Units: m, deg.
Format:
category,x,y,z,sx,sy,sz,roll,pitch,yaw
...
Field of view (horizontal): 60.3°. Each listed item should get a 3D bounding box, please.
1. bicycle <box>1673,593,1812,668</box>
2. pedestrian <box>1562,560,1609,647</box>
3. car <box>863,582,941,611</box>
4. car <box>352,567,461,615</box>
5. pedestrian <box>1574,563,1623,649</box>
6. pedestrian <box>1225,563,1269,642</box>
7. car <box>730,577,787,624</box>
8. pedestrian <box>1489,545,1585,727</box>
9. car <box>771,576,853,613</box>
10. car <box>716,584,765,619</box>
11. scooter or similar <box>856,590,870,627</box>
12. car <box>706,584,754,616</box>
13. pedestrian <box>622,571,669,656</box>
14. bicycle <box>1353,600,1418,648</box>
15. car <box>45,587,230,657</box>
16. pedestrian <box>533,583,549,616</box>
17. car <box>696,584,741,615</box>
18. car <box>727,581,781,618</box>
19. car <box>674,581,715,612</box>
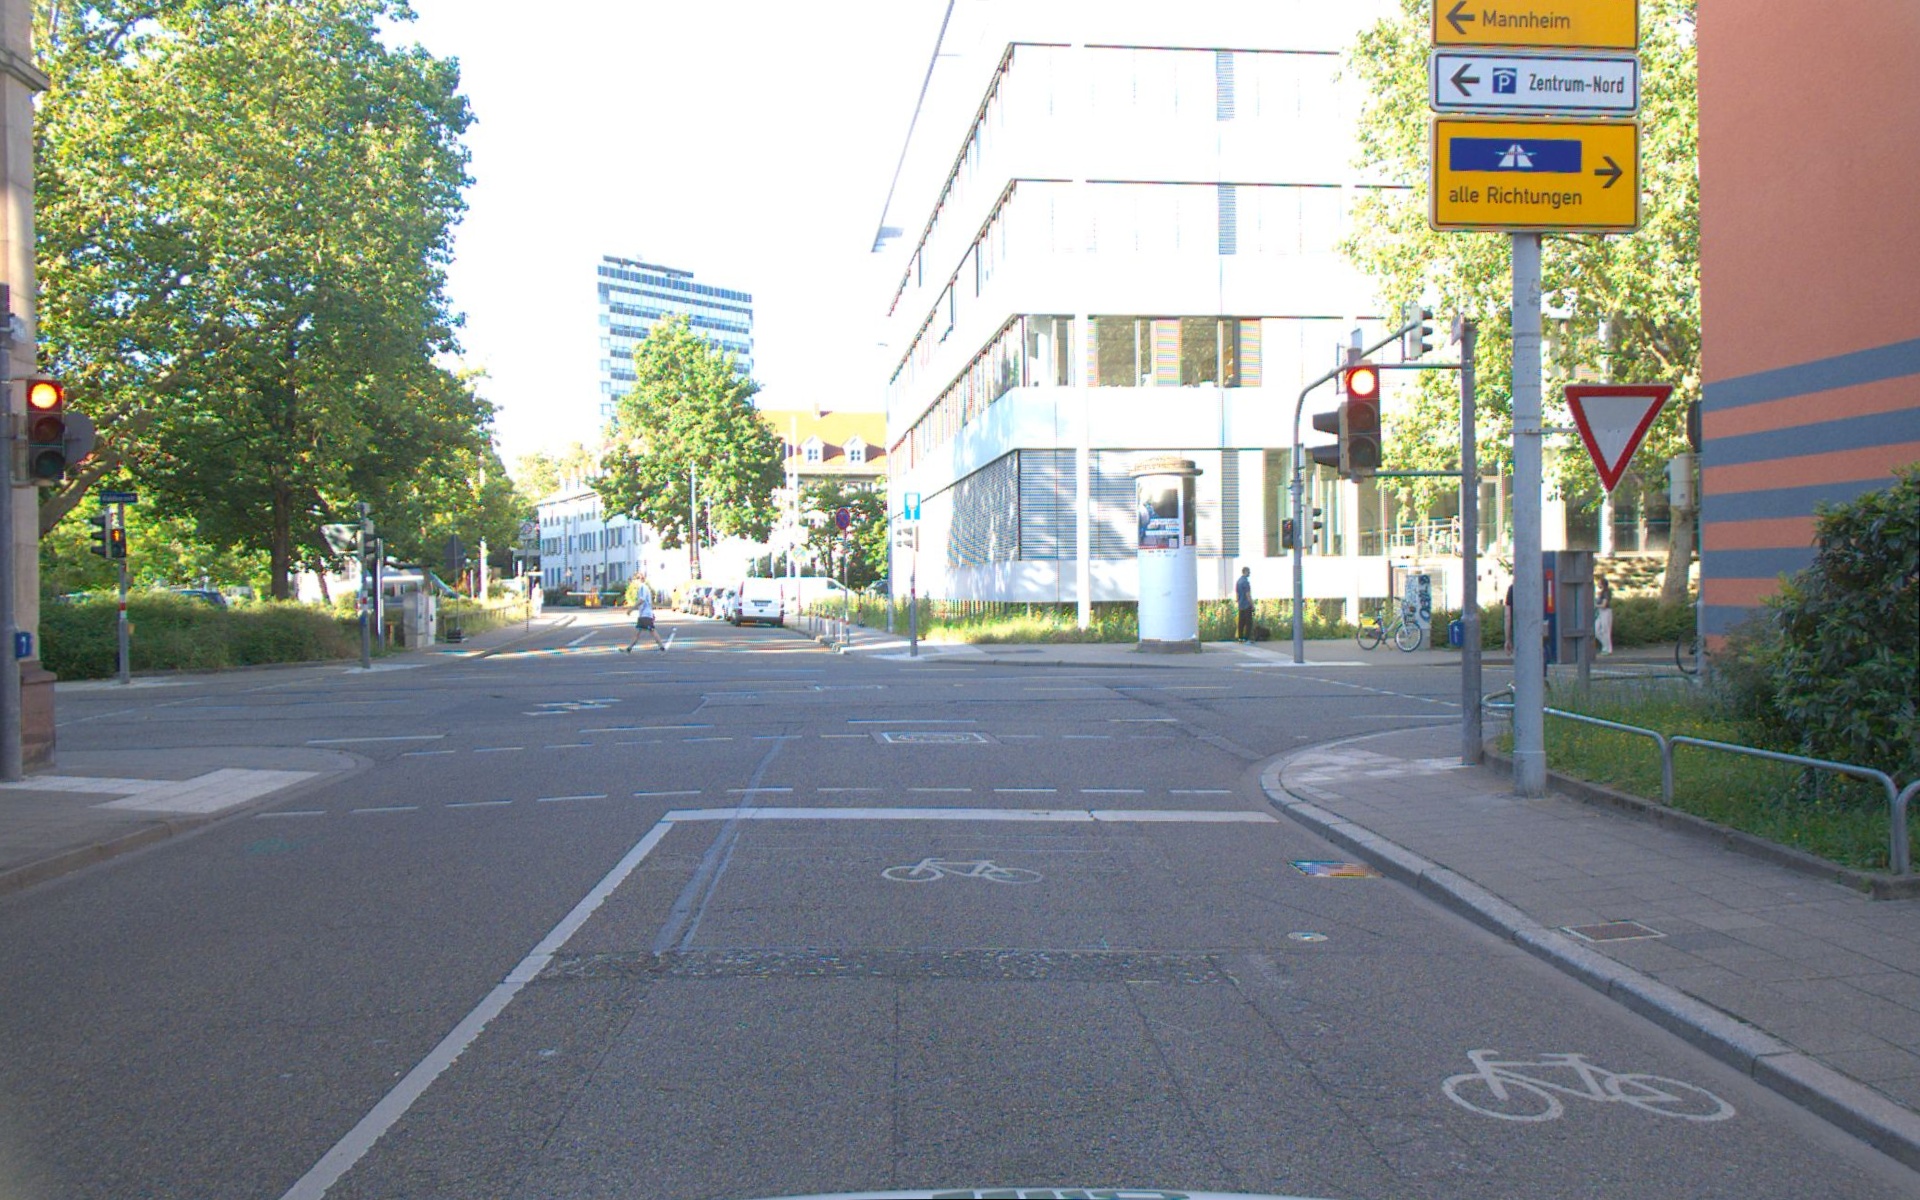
category,x,y,z,sx,sy,sz,roll,pitch,yaw
bicycle,12.523,0.481,26.511,1.922,1.172,0.593,-1,0,5
pedestrian,13.203,0.073,34.940,0.749,1.826,0.648,1,-1,2
car,-3.665,-0.216,104.708,4.563,1.755,1.991,1,0,-17
car,-24.955,-0.385,74.669,4.363,2.049,1.995,1,0,-10
pedestrian,13.209,0.125,34.230,0.749,1.749,0.648,1,-1,2
pedestrian,6.763,0.062,39.063,0.895,1.847,0.762,1,-1,1
car,-7.910,0.024,64.688,1.957,1.755,4.641,1,0,-10
pedestrian,6.024,0.367,17.269,0.690,1.842,0.715,0,-1,44
car,-9.191,-0.334,102.783,4.718,2.196,1.990,1,0,-18
car,-10.187,0.069,76.638,1.958,1.525,4.639,1,0,-11
scooter or similar,-3.423,0.276,58.221,0.429,1.278,1.418,-1,0,-5
car,-11.300,0.002,81.069,1.959,1.525,4.272,1,0,-13
pedestrian,-7.153,0.313,37.672,0.895,1.901,0.742,1,-1,0
bicycle,9.326,0.518,36.266,0.376,1.026,1.410,-1,0,-42
car,-18.363,0.484,37.050,3.347,1.483,1.646,1,0,-11
pedestrian,-20.816,-0.017,82.149,0.688,1.614,0.634,1,-1,-16
car,-12.543,-0.040,85.775,1.959,1.525,4.637,1,0,-13
car,-8.862,-0.010,70.887,1.958,1.525,4.639,1,0,-11
car,-15.375,-0.200,95.591,1.960,1.755,4.635,1,0,-14
